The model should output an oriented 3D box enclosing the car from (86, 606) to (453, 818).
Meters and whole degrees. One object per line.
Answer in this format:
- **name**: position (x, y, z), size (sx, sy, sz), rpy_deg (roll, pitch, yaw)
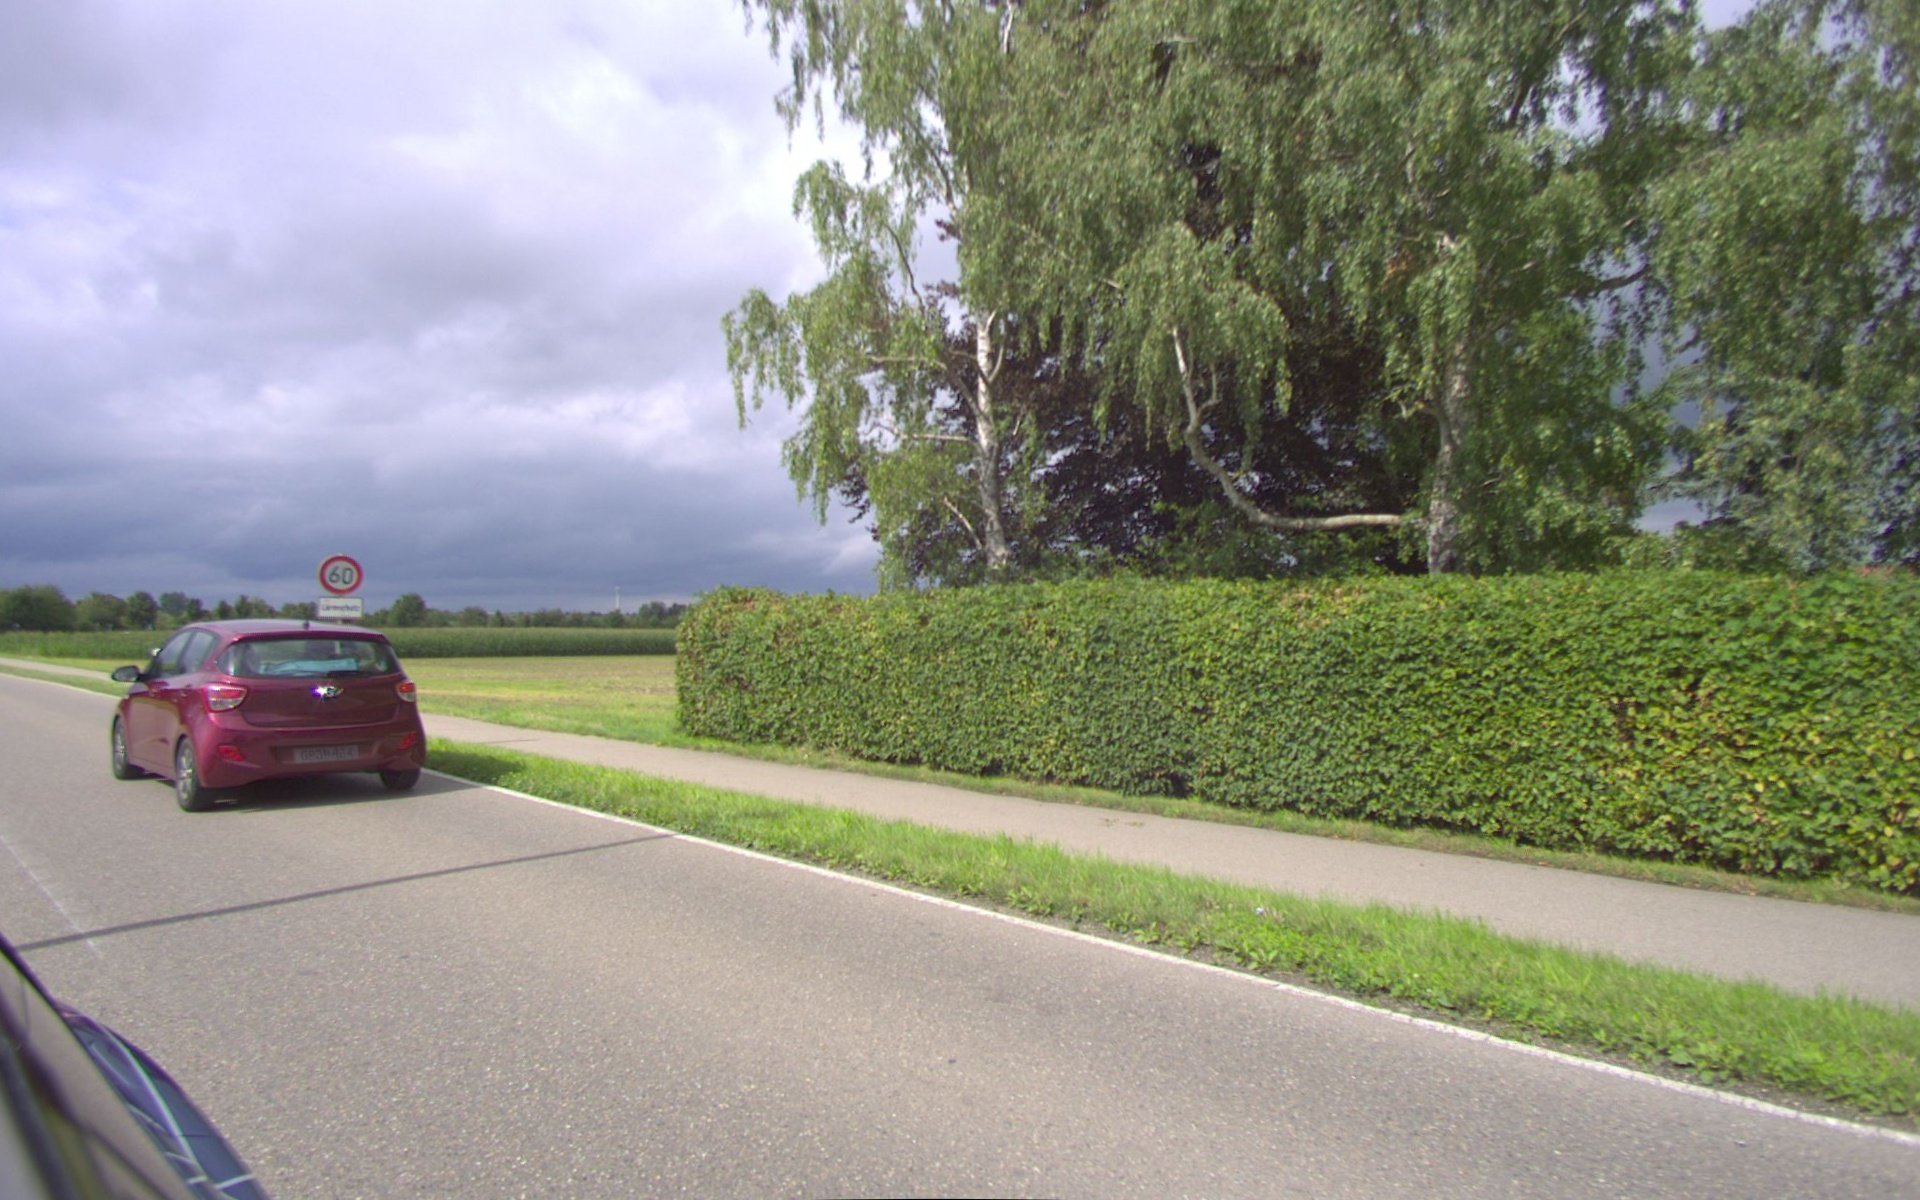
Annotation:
- **car**: position (-6.293, 0.861, 9.059), size (3.998, 1.482, 1.722), rpy_deg (-2, -3, 41)
